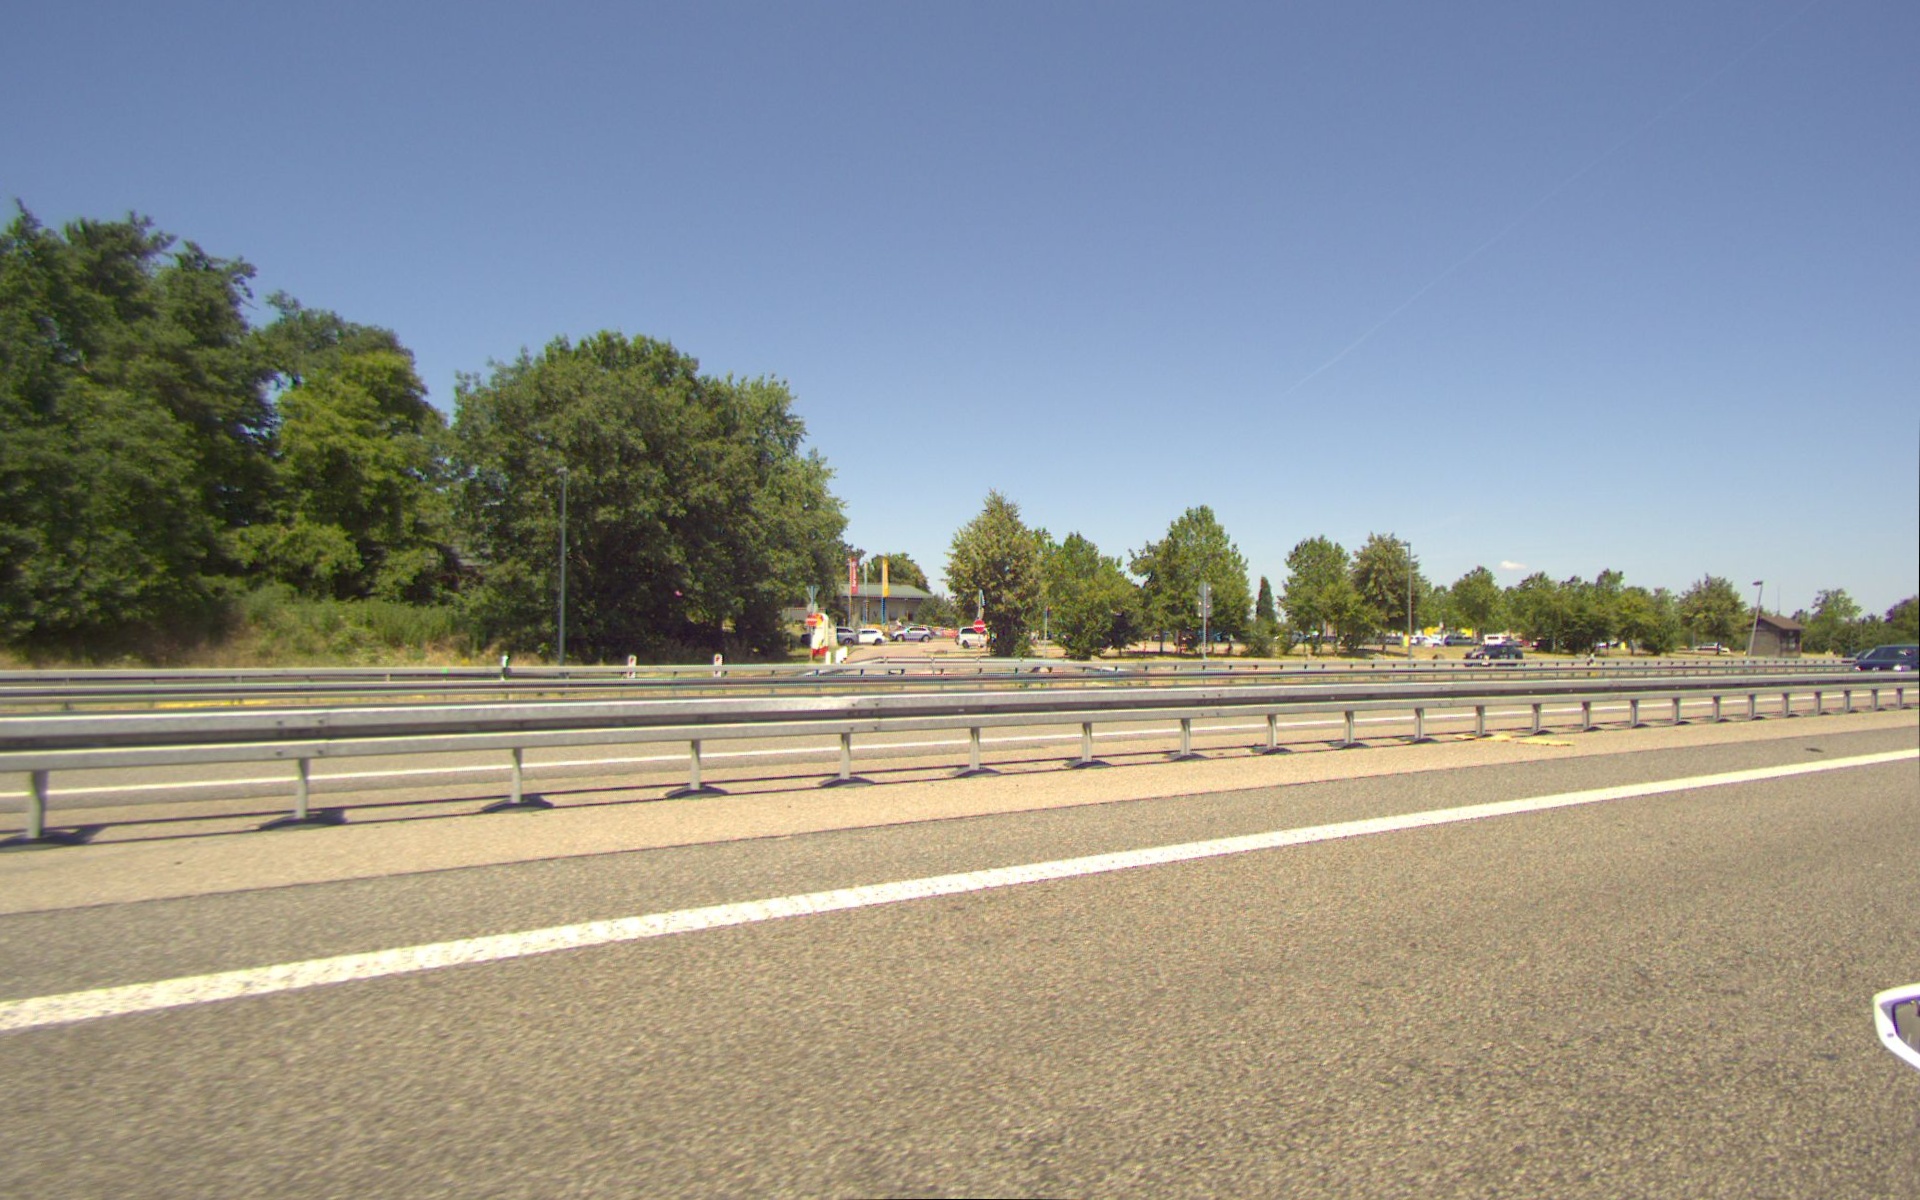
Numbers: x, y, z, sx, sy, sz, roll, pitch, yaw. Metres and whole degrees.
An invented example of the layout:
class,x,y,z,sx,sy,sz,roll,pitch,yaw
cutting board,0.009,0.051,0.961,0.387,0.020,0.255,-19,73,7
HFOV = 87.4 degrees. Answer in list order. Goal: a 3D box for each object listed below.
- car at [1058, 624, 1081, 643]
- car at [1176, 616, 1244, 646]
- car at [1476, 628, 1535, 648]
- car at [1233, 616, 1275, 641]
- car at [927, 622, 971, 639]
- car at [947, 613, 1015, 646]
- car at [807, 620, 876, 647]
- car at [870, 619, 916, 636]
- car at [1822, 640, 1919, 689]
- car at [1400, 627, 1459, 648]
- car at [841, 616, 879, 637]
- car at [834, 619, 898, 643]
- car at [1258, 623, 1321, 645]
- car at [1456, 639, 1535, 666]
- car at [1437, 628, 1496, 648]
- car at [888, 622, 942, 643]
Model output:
class,x,y,z,sx,sy,sz,roll,pitch,yaw
car,12.723,3.844,117.217,2.428,2.017,5.246,1,0,4
car,24.747,3.003,99.431,6.086,2.786,2.476,1,0,23
car,67.007,4.624,123.486,6.086,2.152,2.476,1,0,23
car,45.221,4.333,154.439,6.252,3.751,2.730,1,0,-31
car,-1.422,3.946,130.167,5.163,2.017,2.467,1,0,-19
car,1.746,2.464,85.466,2.457,2.533,6.136,1,0,-39
car,-9.547,2.680,80.877,5.163,2.017,2.467,1,0,-19
car,-8.244,3.382,123.529,5.163,2.017,2.467,1,0,-19
car,32.113,2.201,34.731,4.834,1.571,2.042,1,-4,-31
car,54.048,4.321,115.738,6.086,2.152,2.476,1,0,23
car,-10.540,2.790,105.651,2.443,2.017,5.213,1,0,-24
car,-8.367,2.749,89.389,5.163,2.017,2.467,1,0,-19
car,34.674,3.554,105.777,6.086,2.152,2.476,1,0,23
car,32.428,3.181,60.792,4.834,1.571,2.042,1,-4,-31
car,60.424,4.472,119.936,6.086,2.152,2.476,1,0,23
car,-4.690,3.354,104.107,5.163,2.017,2.467,1,0,-19
